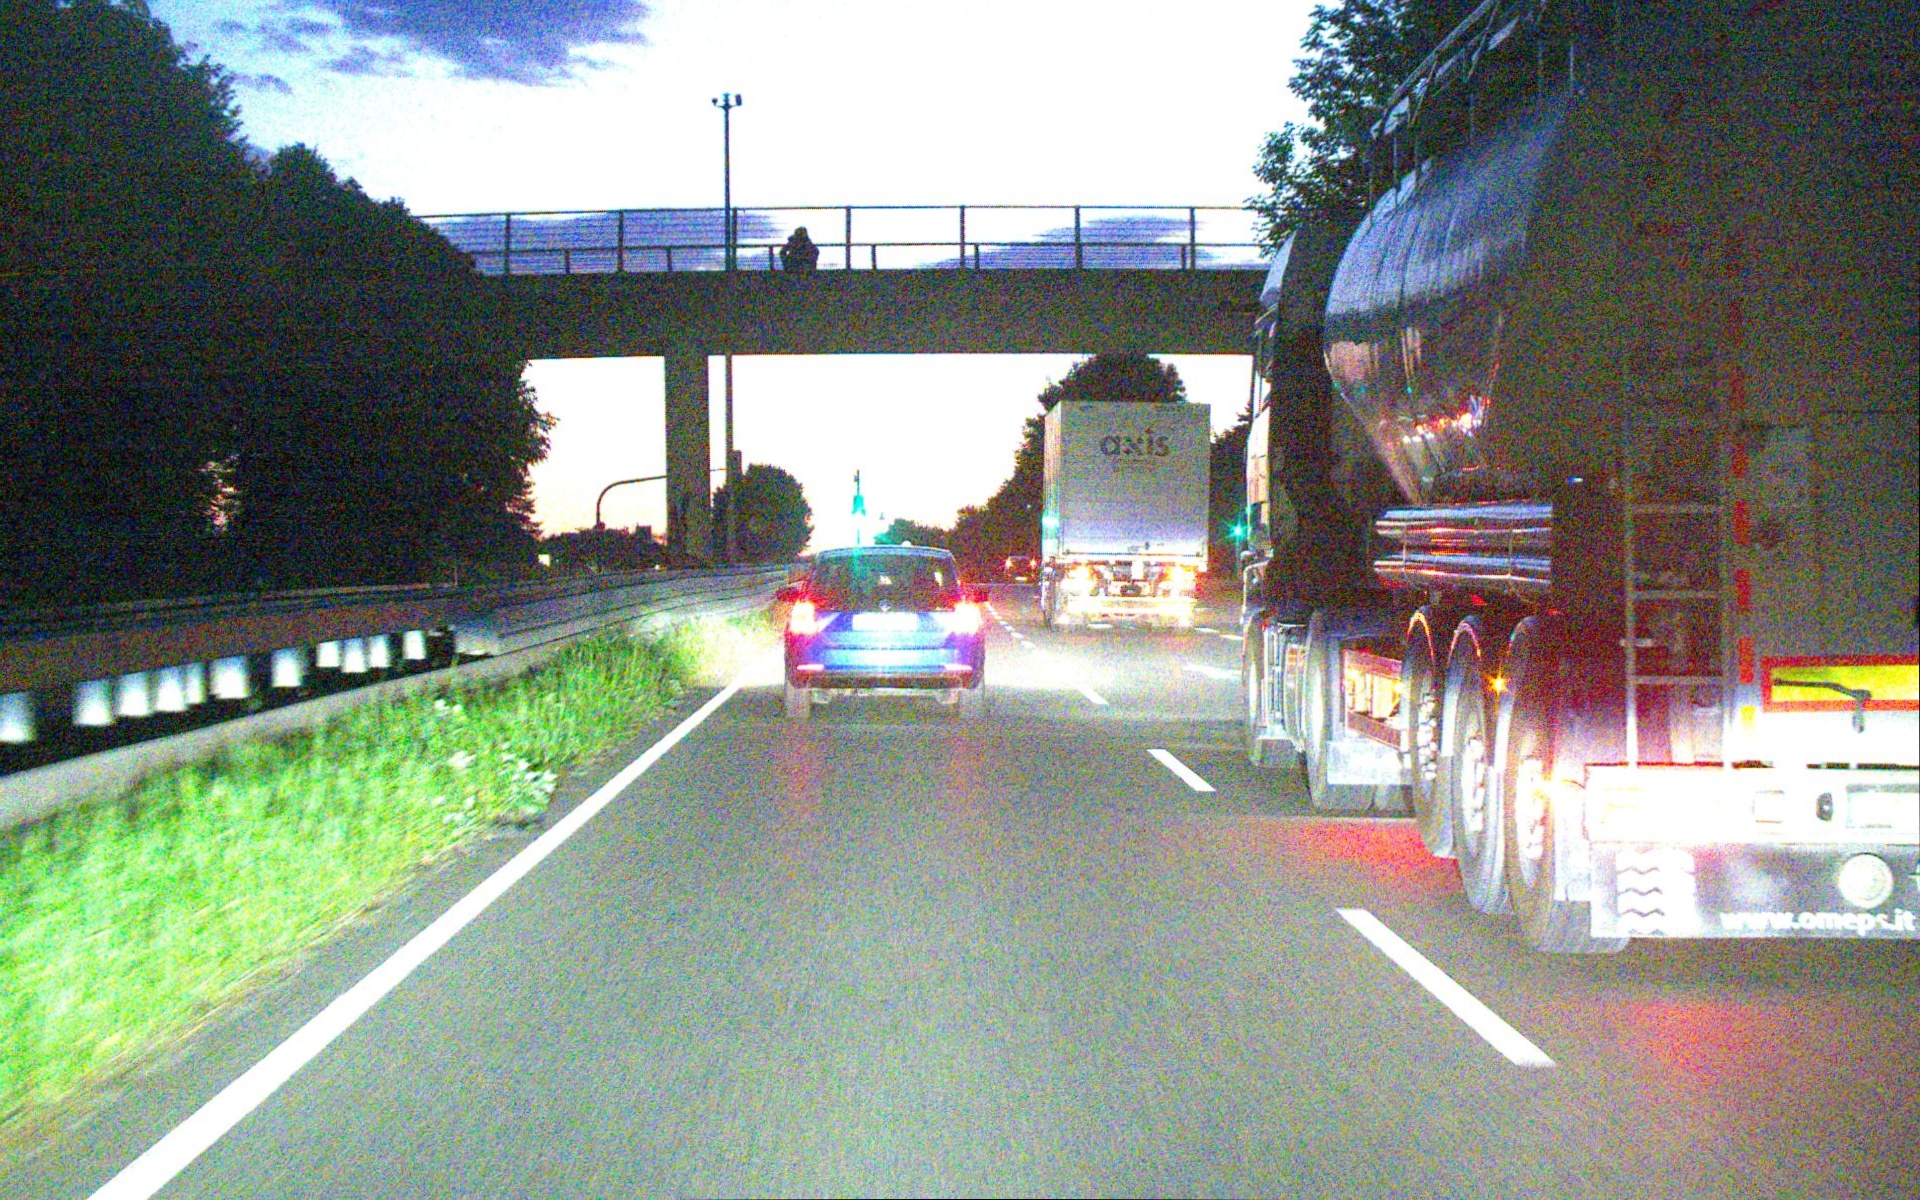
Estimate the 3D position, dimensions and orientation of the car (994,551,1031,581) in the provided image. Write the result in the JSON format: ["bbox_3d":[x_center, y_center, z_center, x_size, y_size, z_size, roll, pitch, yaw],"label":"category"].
[{"bbox_3d":[2.597,-1.684,170.973,1.695,1.447,3.914,1,1,-1],"label":"car"}]

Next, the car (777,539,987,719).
[{"bbox_3d":[-0.668,0.215,30.028,1.695,1.447,3.914,1,1,-1],"label":"car"}]

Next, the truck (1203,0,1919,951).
[{"bbox_3d":[3.244,-0.919,18.307,2.687,4.092,13.142,1,1,-1],"label":"truck"}]

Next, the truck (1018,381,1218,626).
[{"bbox_3d":[2.772,-1.693,64.325,2.883,4.092,12.684,1,1,-1],"label":"truck"}]
